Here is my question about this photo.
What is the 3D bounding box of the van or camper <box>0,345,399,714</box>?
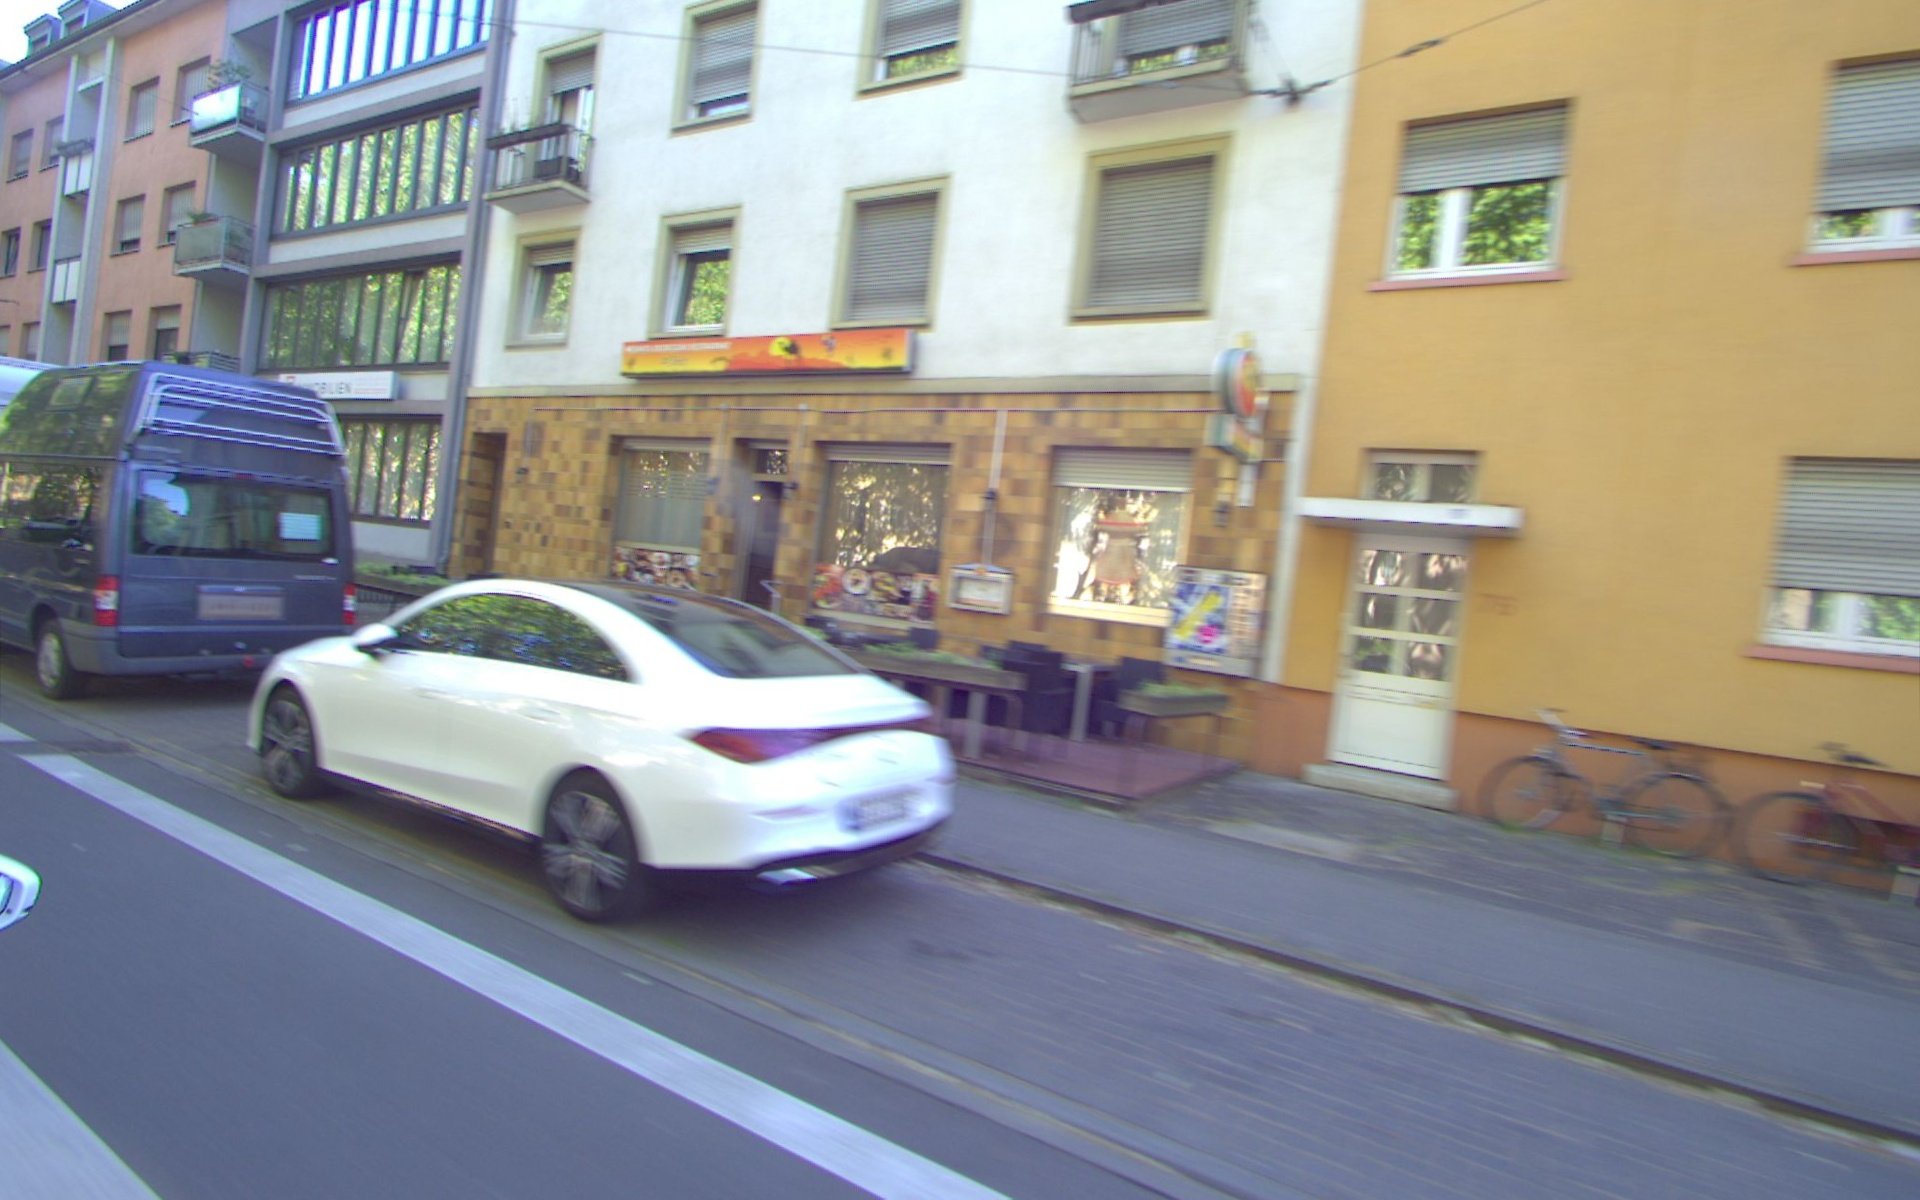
[{"bbox_3d":[-7.834,-0.704,9.529,4.897,2.698,2.133,7,2,31],"label":"van or camper"}]

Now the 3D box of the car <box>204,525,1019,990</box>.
[{"bbox_3d":[-2.229,0.559,5.936,4.661,1.513,1.994,7,1,32],"label":"car"}]

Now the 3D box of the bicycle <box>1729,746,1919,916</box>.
[{"bbox_3d":[6.826,1.728,7.316,1.827,1.009,0.427,7,0,32],"label":"bicycle"}]

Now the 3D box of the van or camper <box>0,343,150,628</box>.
[{"bbox_3d":[-13.158,-1.565,12.749,6.164,3.104,2.463,7,2,31],"label":"van or camper"}]

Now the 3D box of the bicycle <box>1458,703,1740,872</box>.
[{"bbox_3d":[5.197,1.490,8.300,1.827,1.009,0.427,7,0,32],"label":"bicycle"}]
